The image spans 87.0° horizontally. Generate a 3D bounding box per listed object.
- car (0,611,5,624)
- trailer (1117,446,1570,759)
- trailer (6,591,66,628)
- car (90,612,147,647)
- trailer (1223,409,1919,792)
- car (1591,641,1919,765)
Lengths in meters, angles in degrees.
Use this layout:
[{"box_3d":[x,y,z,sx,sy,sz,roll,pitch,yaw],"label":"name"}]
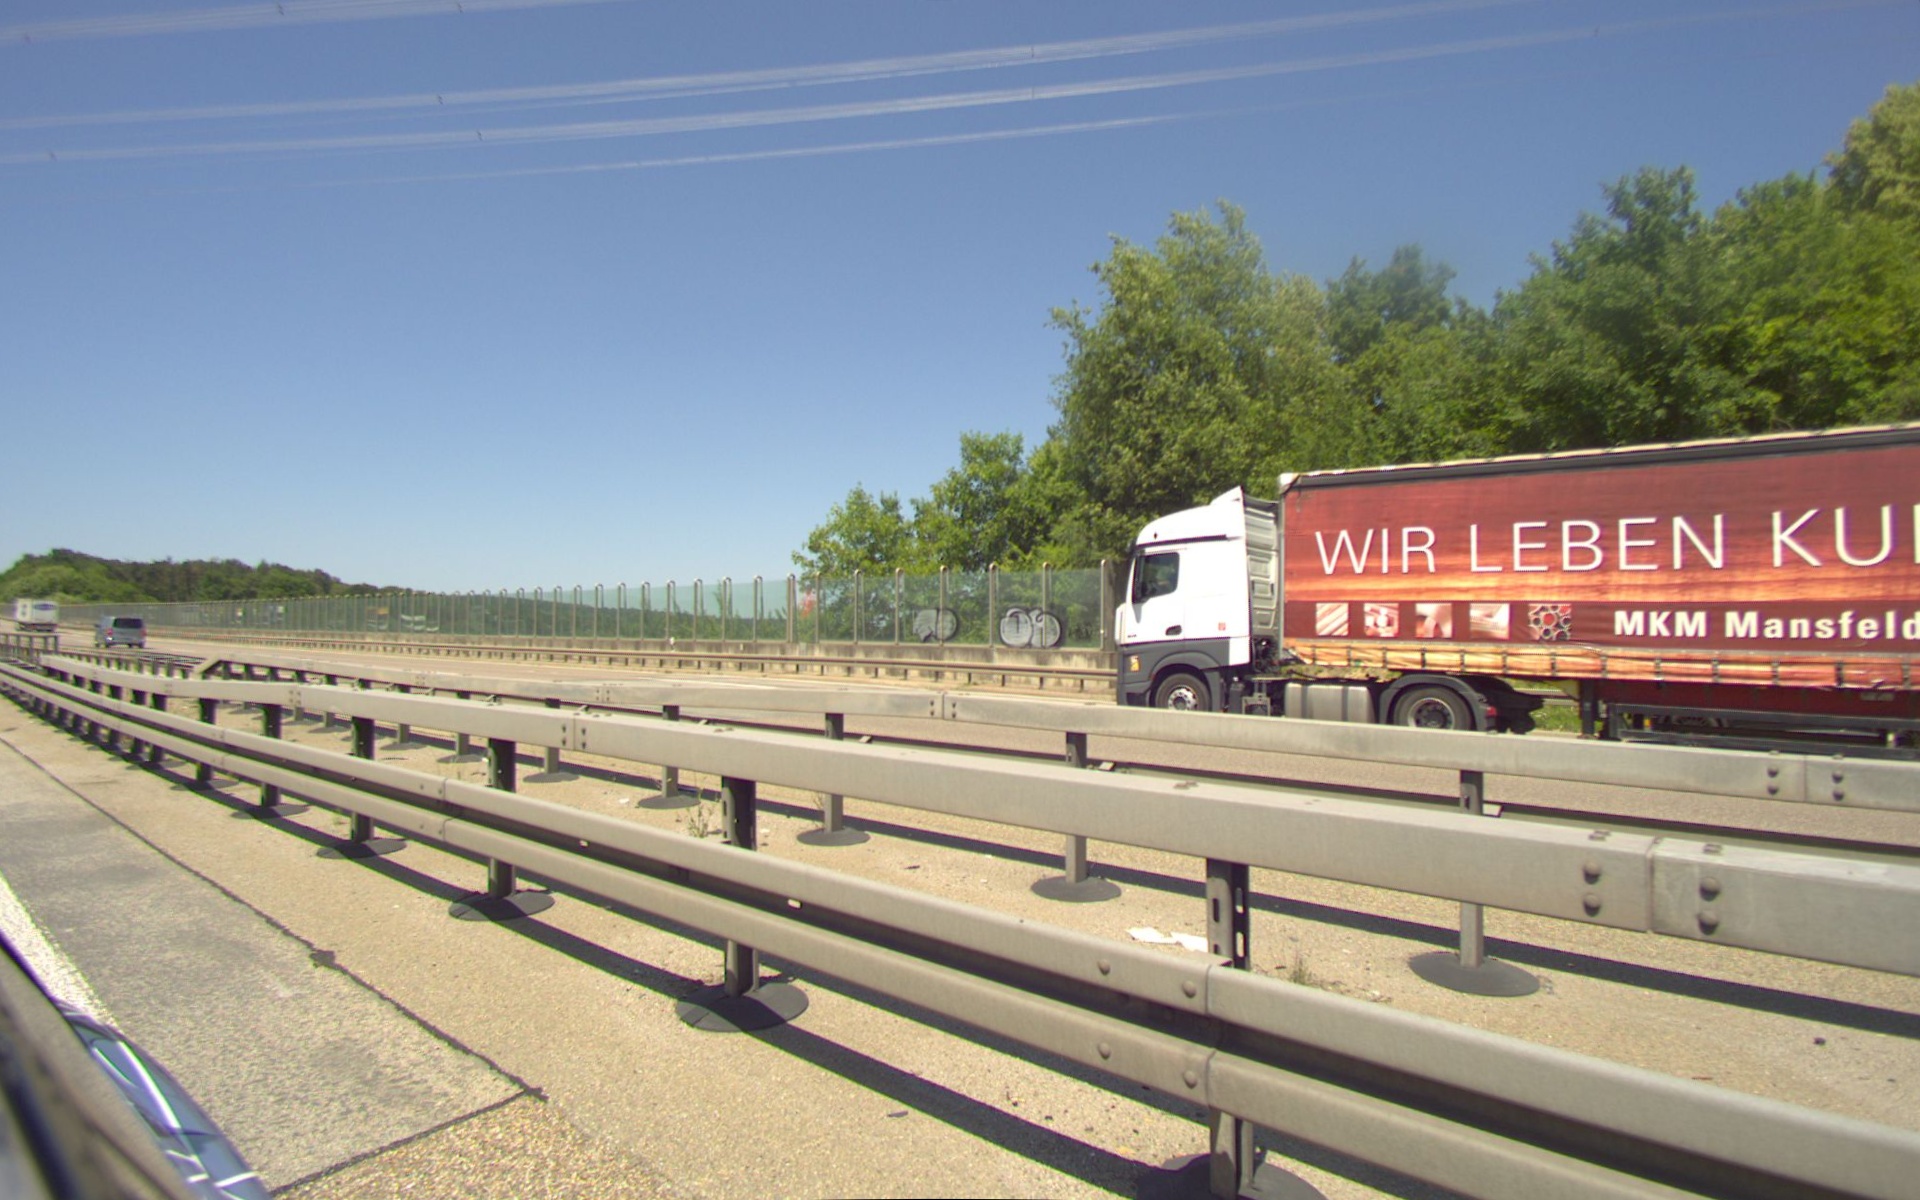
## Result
[{"box_3d":[-157.327,2.830,164.937,5.273,1.955,1.972,0,0,42],"label":"car"},{"box_3d":[5.827,0.140,15.990,6.128,4.007,2.728,-2,-3,41],"label":"trailer"},{"box_3d":[-113.869,1.284,124.580,14.035,4.268,3.946,-1,-2,42],"label":"trailer"},{"box_3d":[-51.296,1.768,61.665,4.895,1.955,1.972,0,0,42],"label":"car"},{"box_3d":[10.507,0.058,11.968,14.673,4.007,2.734,-2,-3,41],"label":"trailer"},{"box_3d":[12.840,1.501,15.369,5.274,1.588,1.972,0,-3,42],"label":"car"}]
